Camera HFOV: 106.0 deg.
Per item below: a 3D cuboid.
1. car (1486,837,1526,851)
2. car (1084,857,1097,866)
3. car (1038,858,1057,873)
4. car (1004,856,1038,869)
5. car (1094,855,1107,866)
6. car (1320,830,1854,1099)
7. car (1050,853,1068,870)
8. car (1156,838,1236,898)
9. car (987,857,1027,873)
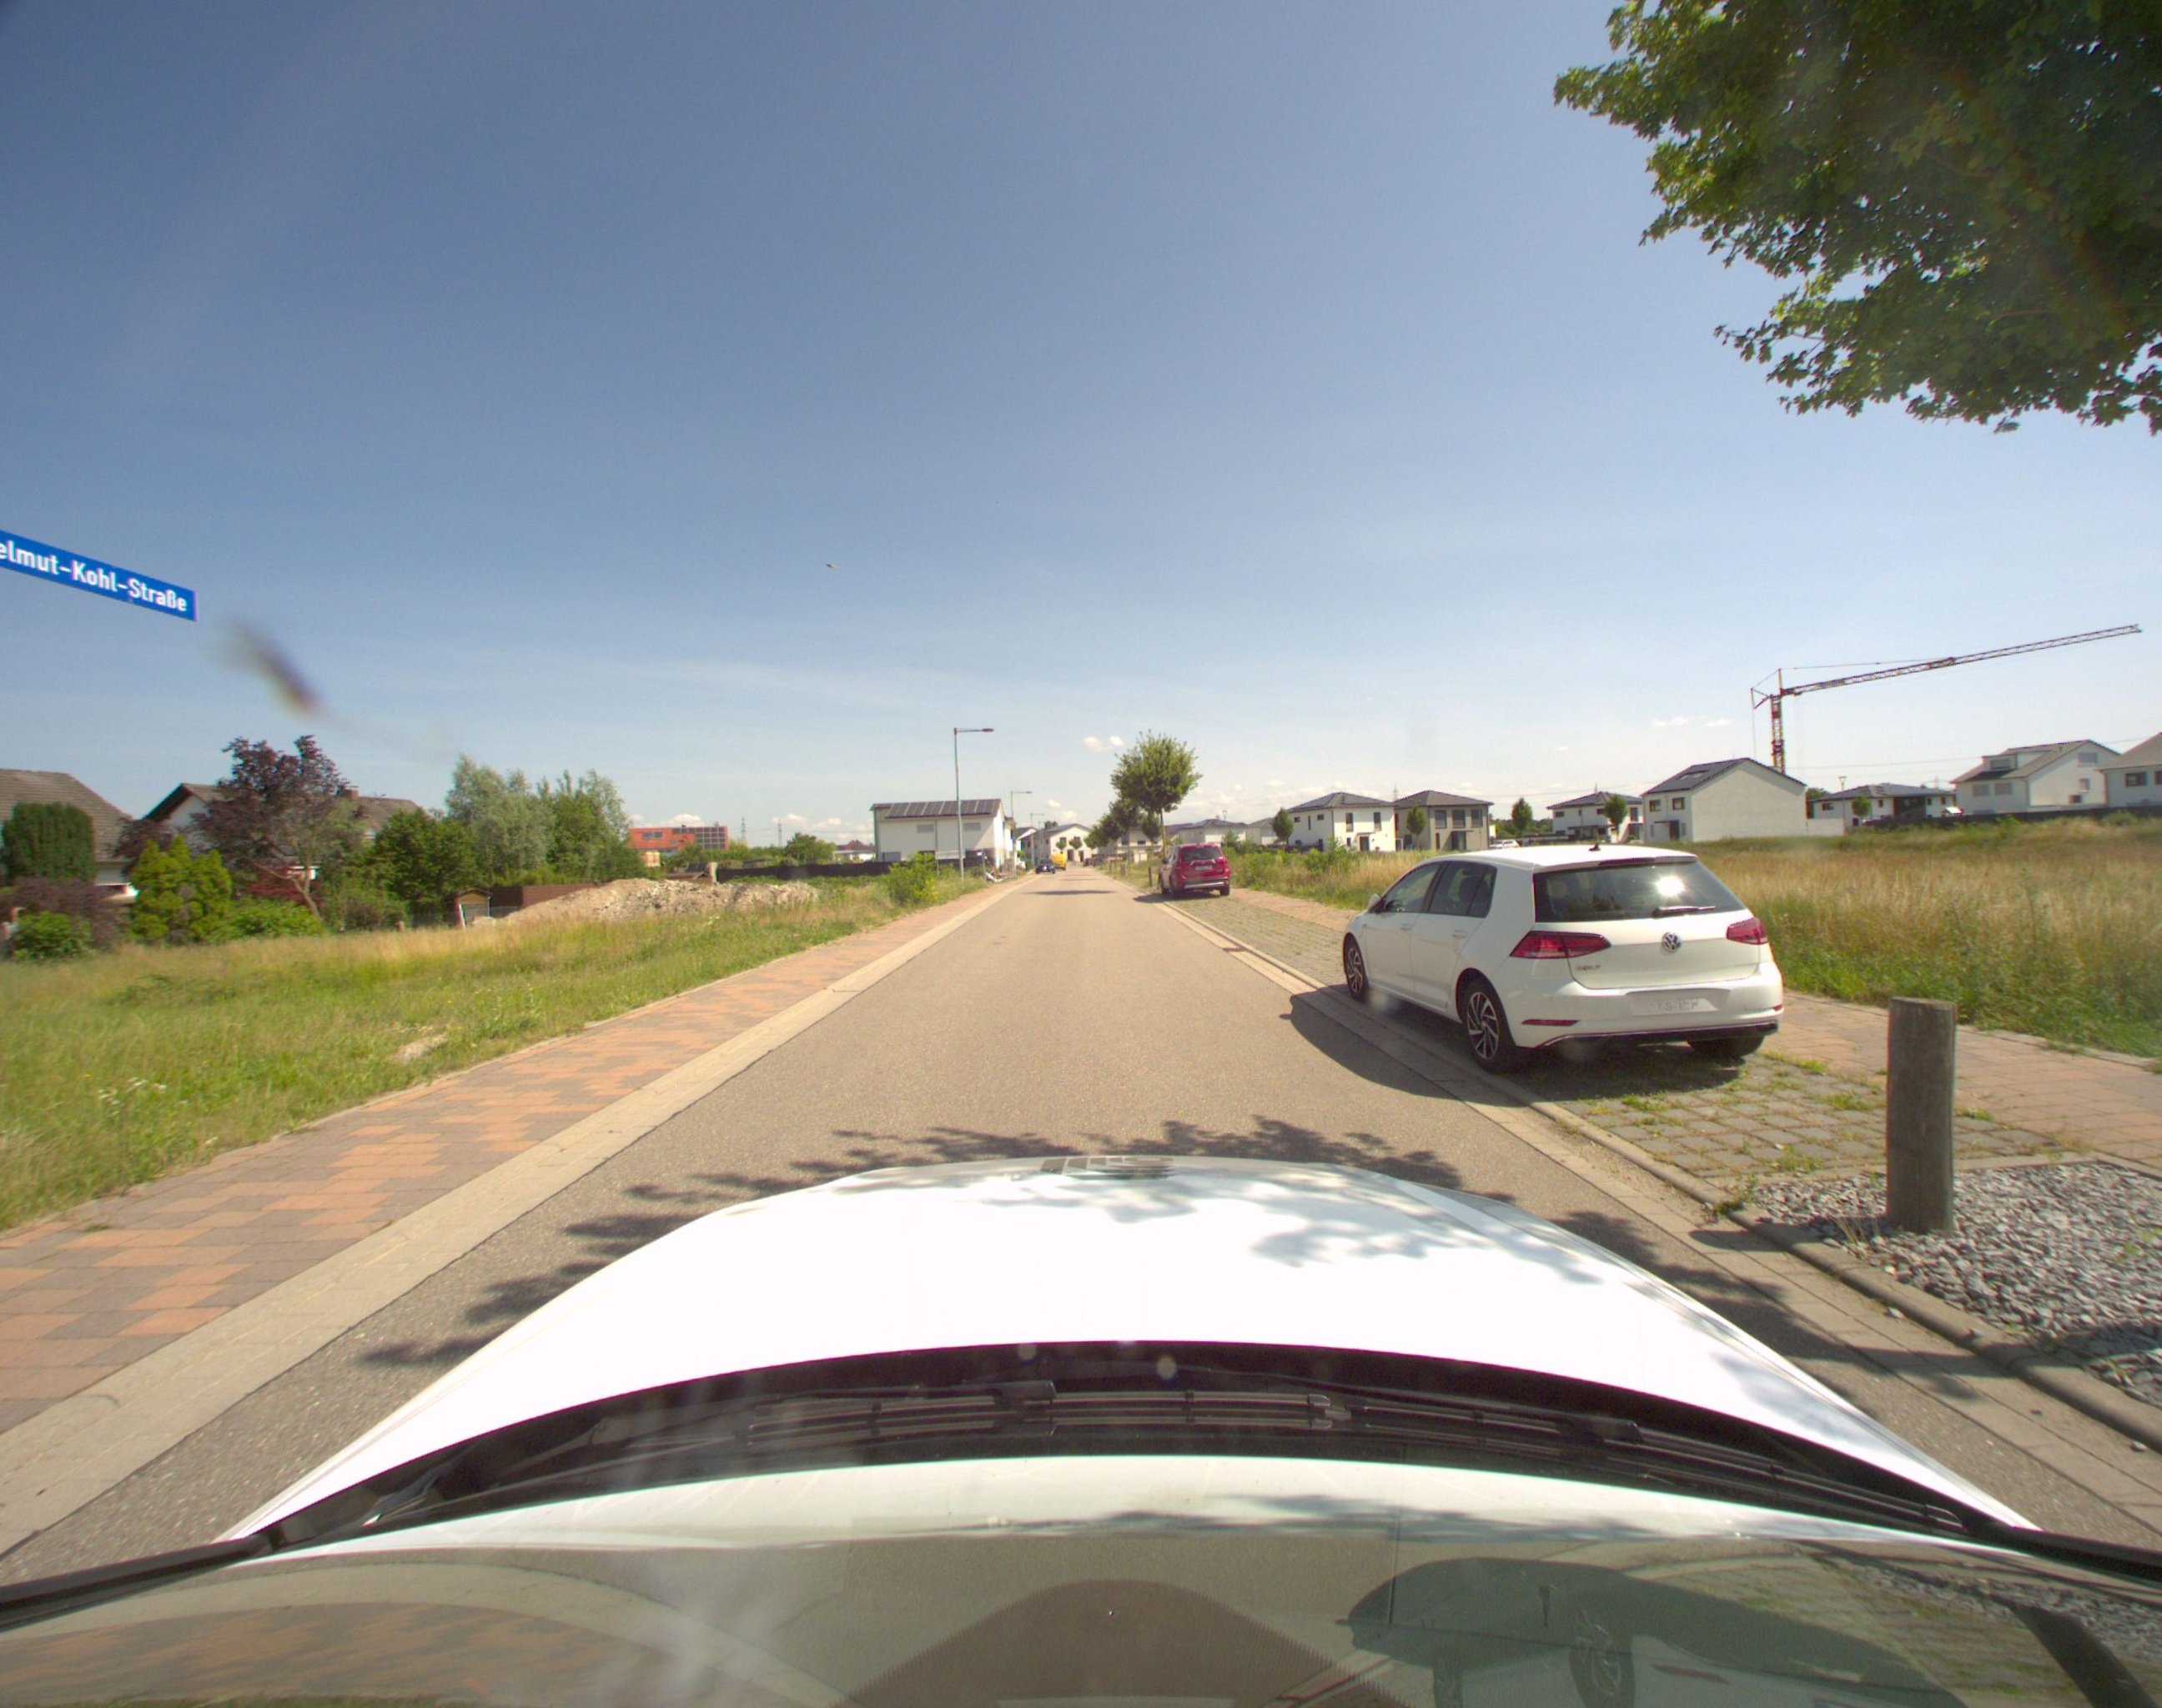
[{"bbox_3d":[49.585,-1.154,95.097,3.993,1.398,1.742,-2,-1,-15],"label":"car"},{"bbox_3d":[1.523,1.289,137.110,1.626,1.322,3.823,-2,-2,-7],"label":"car"},{"bbox_3d":[-3.177,1.101,78.239,1.740,1.405,4.158,0,0,-1],"label":"car"},{"bbox_3d":[-8.050,1.155,108.983,4.170,1.505,1.805,2,-1,-17],"label":"car"},{"bbox_3d":[2.841,1.008,118.526,1.635,1.403,3.808,-2,-2,-2],"label":"car"},{"bbox_3d":[3.527,0.623,6.767,1.770,1.420,4.165,-4,0,0],"label":"car"},{"bbox_3d":[-2.672,0.939,98.355,1.938,1.981,4.210,-2,-1,-4],"label":"car"},{"bbox_3d":[3.613,0.394,26.366,1.772,1.663,4.431,-4,0,-1],"label":"car"},{"bbox_3d":[-7.994,1.183,88.611,4.049,1.581,1.787,-1,0,5],"label":"car"}]
